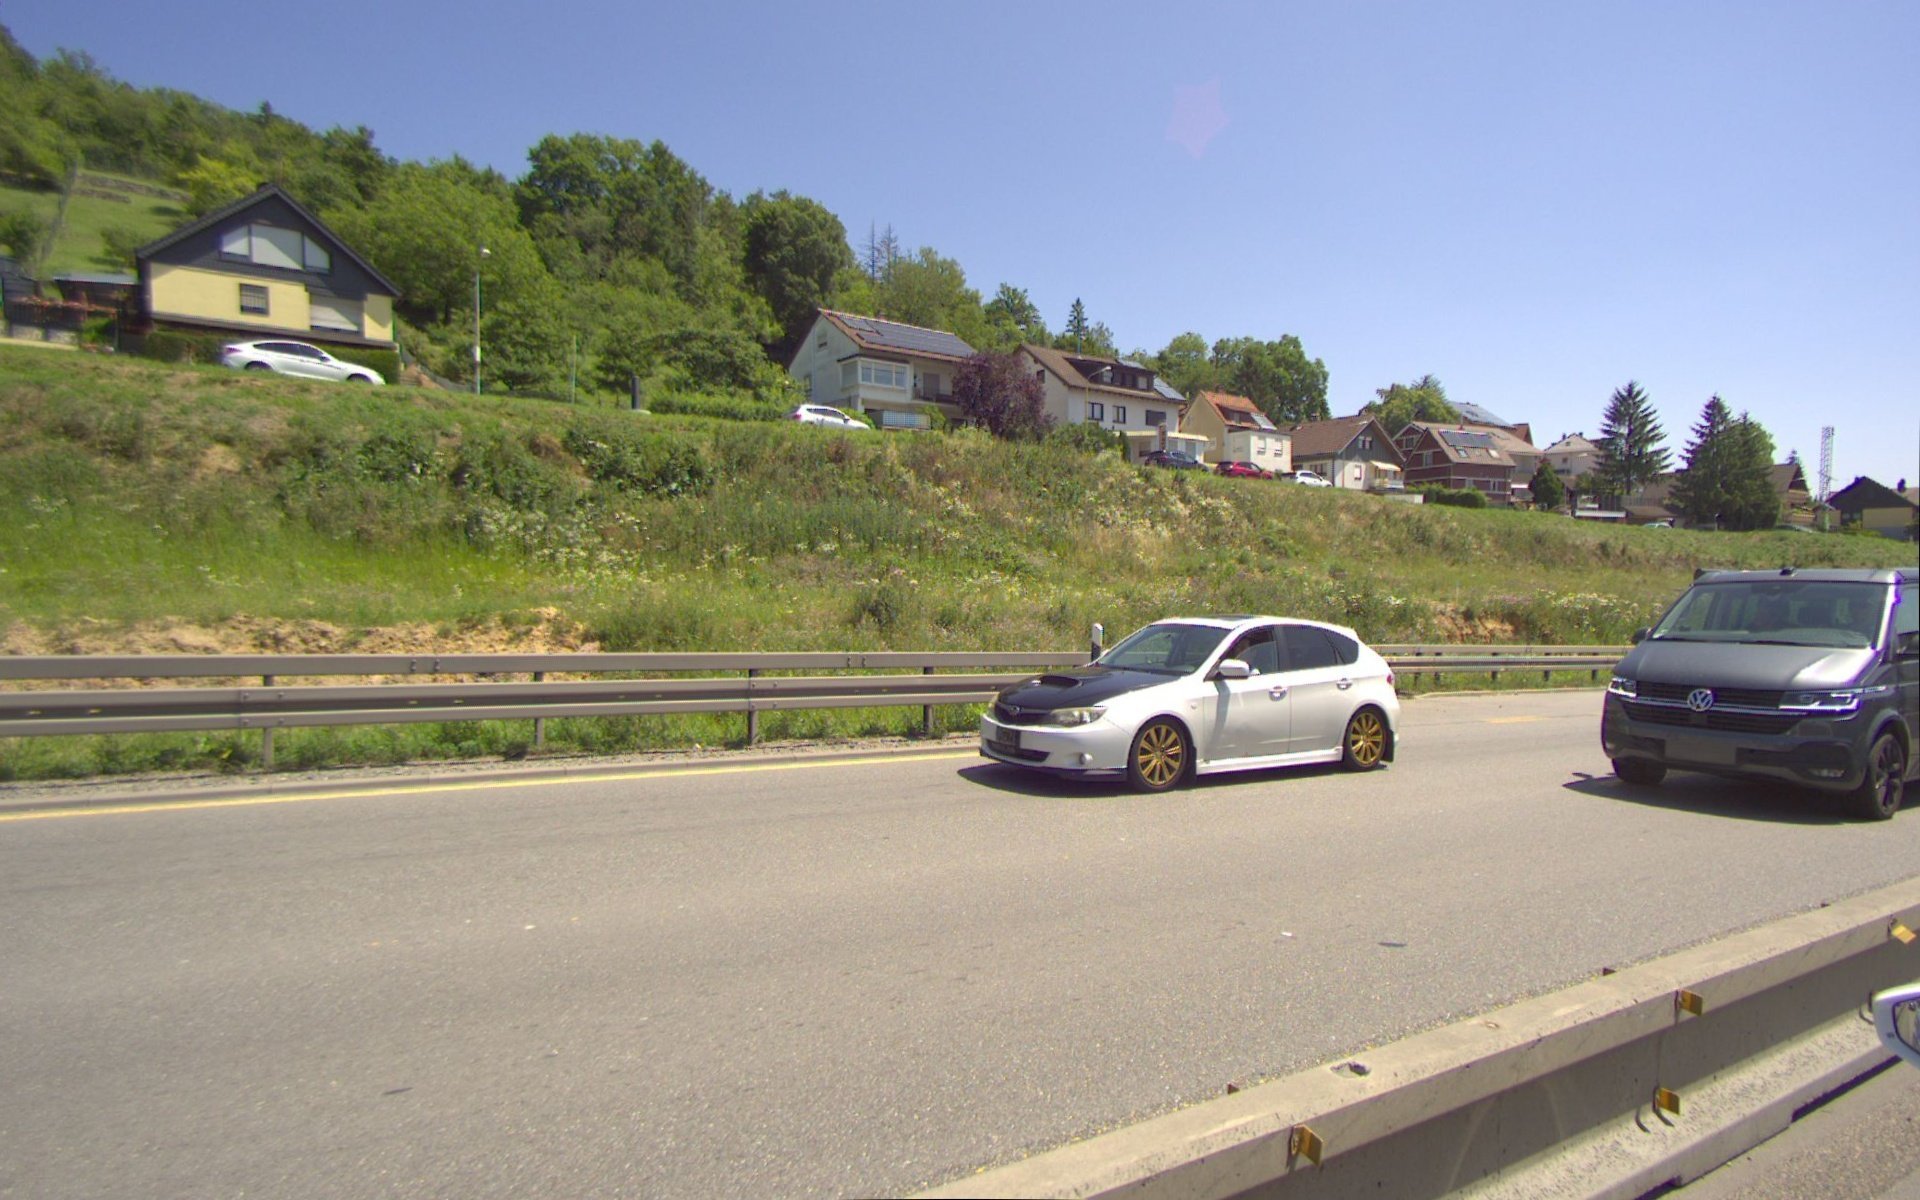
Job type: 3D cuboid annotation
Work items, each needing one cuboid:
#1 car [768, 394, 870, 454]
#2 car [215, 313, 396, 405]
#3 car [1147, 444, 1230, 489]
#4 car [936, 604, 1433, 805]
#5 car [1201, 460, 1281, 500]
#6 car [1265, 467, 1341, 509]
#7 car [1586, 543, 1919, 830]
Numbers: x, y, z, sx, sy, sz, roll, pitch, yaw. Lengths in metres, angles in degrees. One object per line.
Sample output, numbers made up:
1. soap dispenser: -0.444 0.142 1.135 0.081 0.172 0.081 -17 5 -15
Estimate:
1. car: -6.237 -7.743 44.521 3.963 1.817 1.979 3 -1 -37
2. car: -22.069 -8.038 33.972 4.966 1.817 1.979 3 -1 -37
3. car: 13.333 -7.721 58.407 4.720 1.817 2.162 3 -1 -37
4. car: 2.177 0.824 9.348 4.502 1.450 1.801 1 0 -31
5. car: 17.670 -7.478 63.096 4.752 1.817 2.333 3 -1 -34
6. car: 22.794 -7.391 66.655 4.768 2.068 2.334 3 -1 -33
7. car: 8.026 0.665 9.234 4.851 2.040 1.900 2 0 -32
